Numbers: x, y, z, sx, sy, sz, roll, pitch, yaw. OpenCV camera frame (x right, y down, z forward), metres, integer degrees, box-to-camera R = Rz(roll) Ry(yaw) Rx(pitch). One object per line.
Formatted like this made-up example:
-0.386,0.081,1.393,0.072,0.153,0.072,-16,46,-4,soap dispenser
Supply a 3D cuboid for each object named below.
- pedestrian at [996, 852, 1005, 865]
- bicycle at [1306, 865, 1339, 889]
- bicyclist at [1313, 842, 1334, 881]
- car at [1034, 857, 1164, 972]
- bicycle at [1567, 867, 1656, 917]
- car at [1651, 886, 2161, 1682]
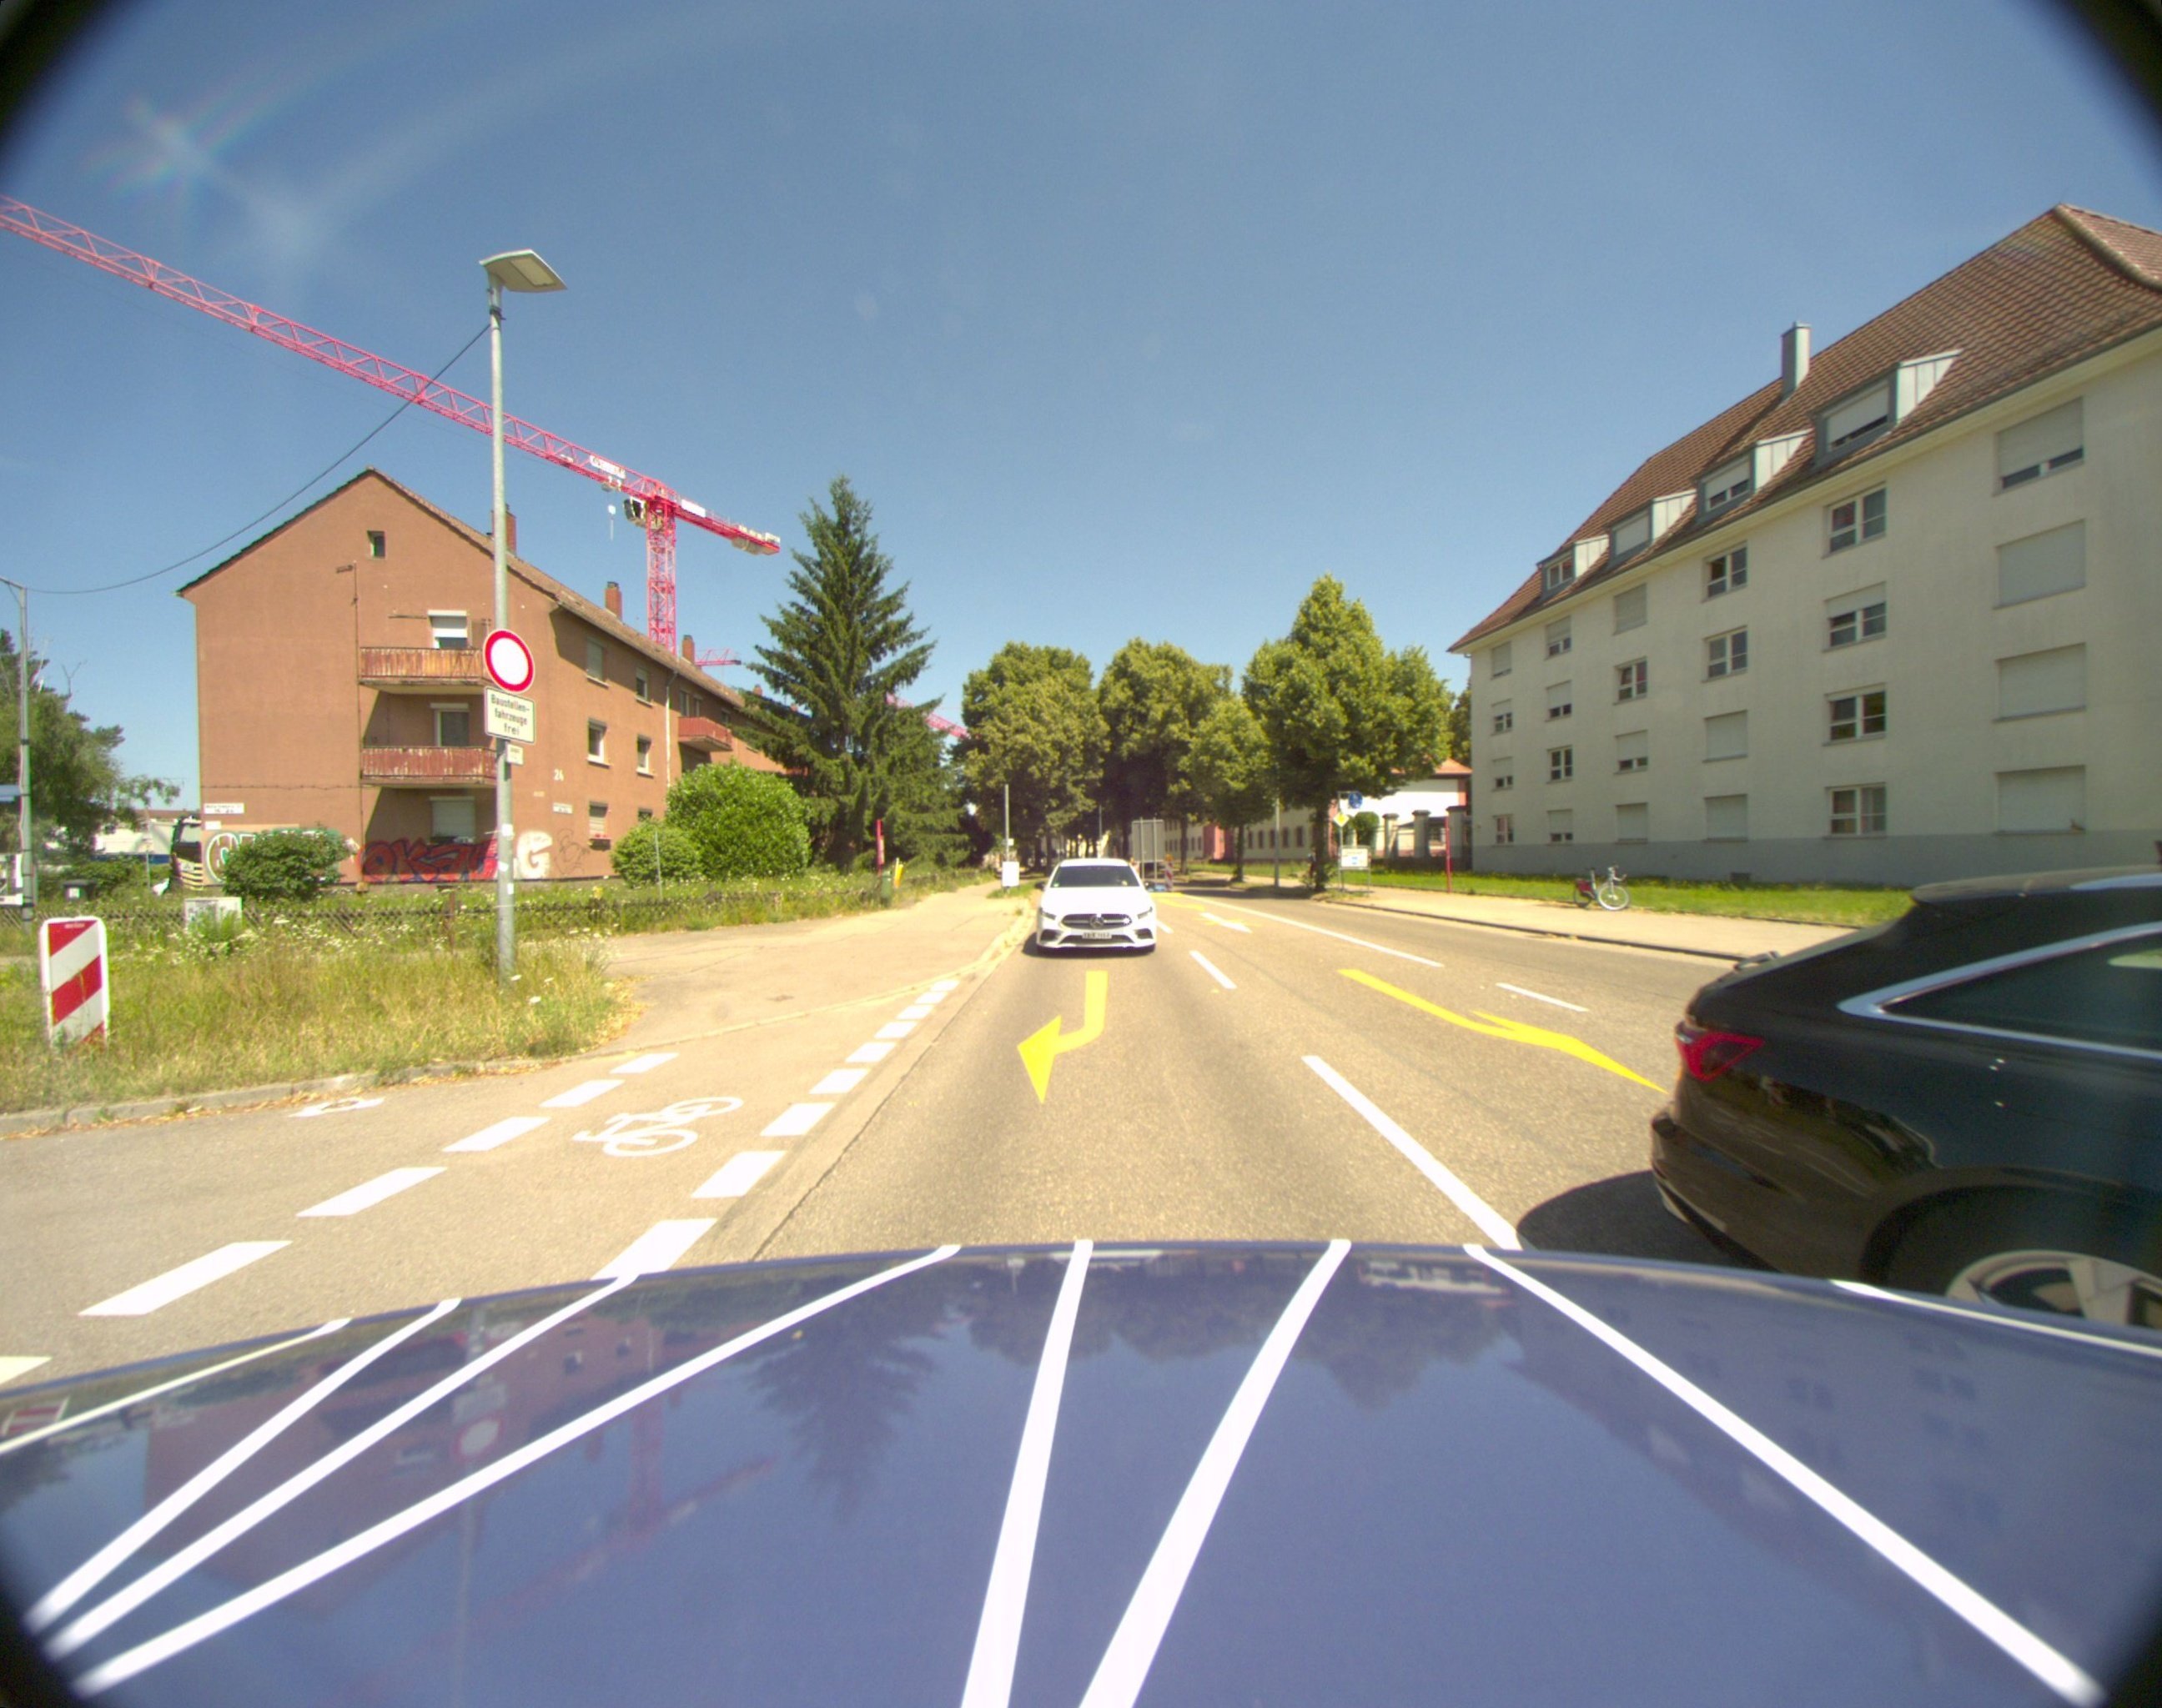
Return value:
-9.374,0.477,88.483,1.024,1.509,0.682,-1,1,1,pedestrian
9.915,0.920,31.255,0.562,0.910,1.907,-1,0,-5,bicycle
9.923,0.303,31.144,0.568,1.601,0.740,-1,1,-5,bicyclist
0.134,0.850,12.598,1.780,1.536,3.962,-2,0,-4,car
12.526,0.868,18.021,0.709,1.018,1.985,-4,1,1,bicycle
3.490,0.843,0.541,1.804,1.443,4.609,-2,0,-24,car
